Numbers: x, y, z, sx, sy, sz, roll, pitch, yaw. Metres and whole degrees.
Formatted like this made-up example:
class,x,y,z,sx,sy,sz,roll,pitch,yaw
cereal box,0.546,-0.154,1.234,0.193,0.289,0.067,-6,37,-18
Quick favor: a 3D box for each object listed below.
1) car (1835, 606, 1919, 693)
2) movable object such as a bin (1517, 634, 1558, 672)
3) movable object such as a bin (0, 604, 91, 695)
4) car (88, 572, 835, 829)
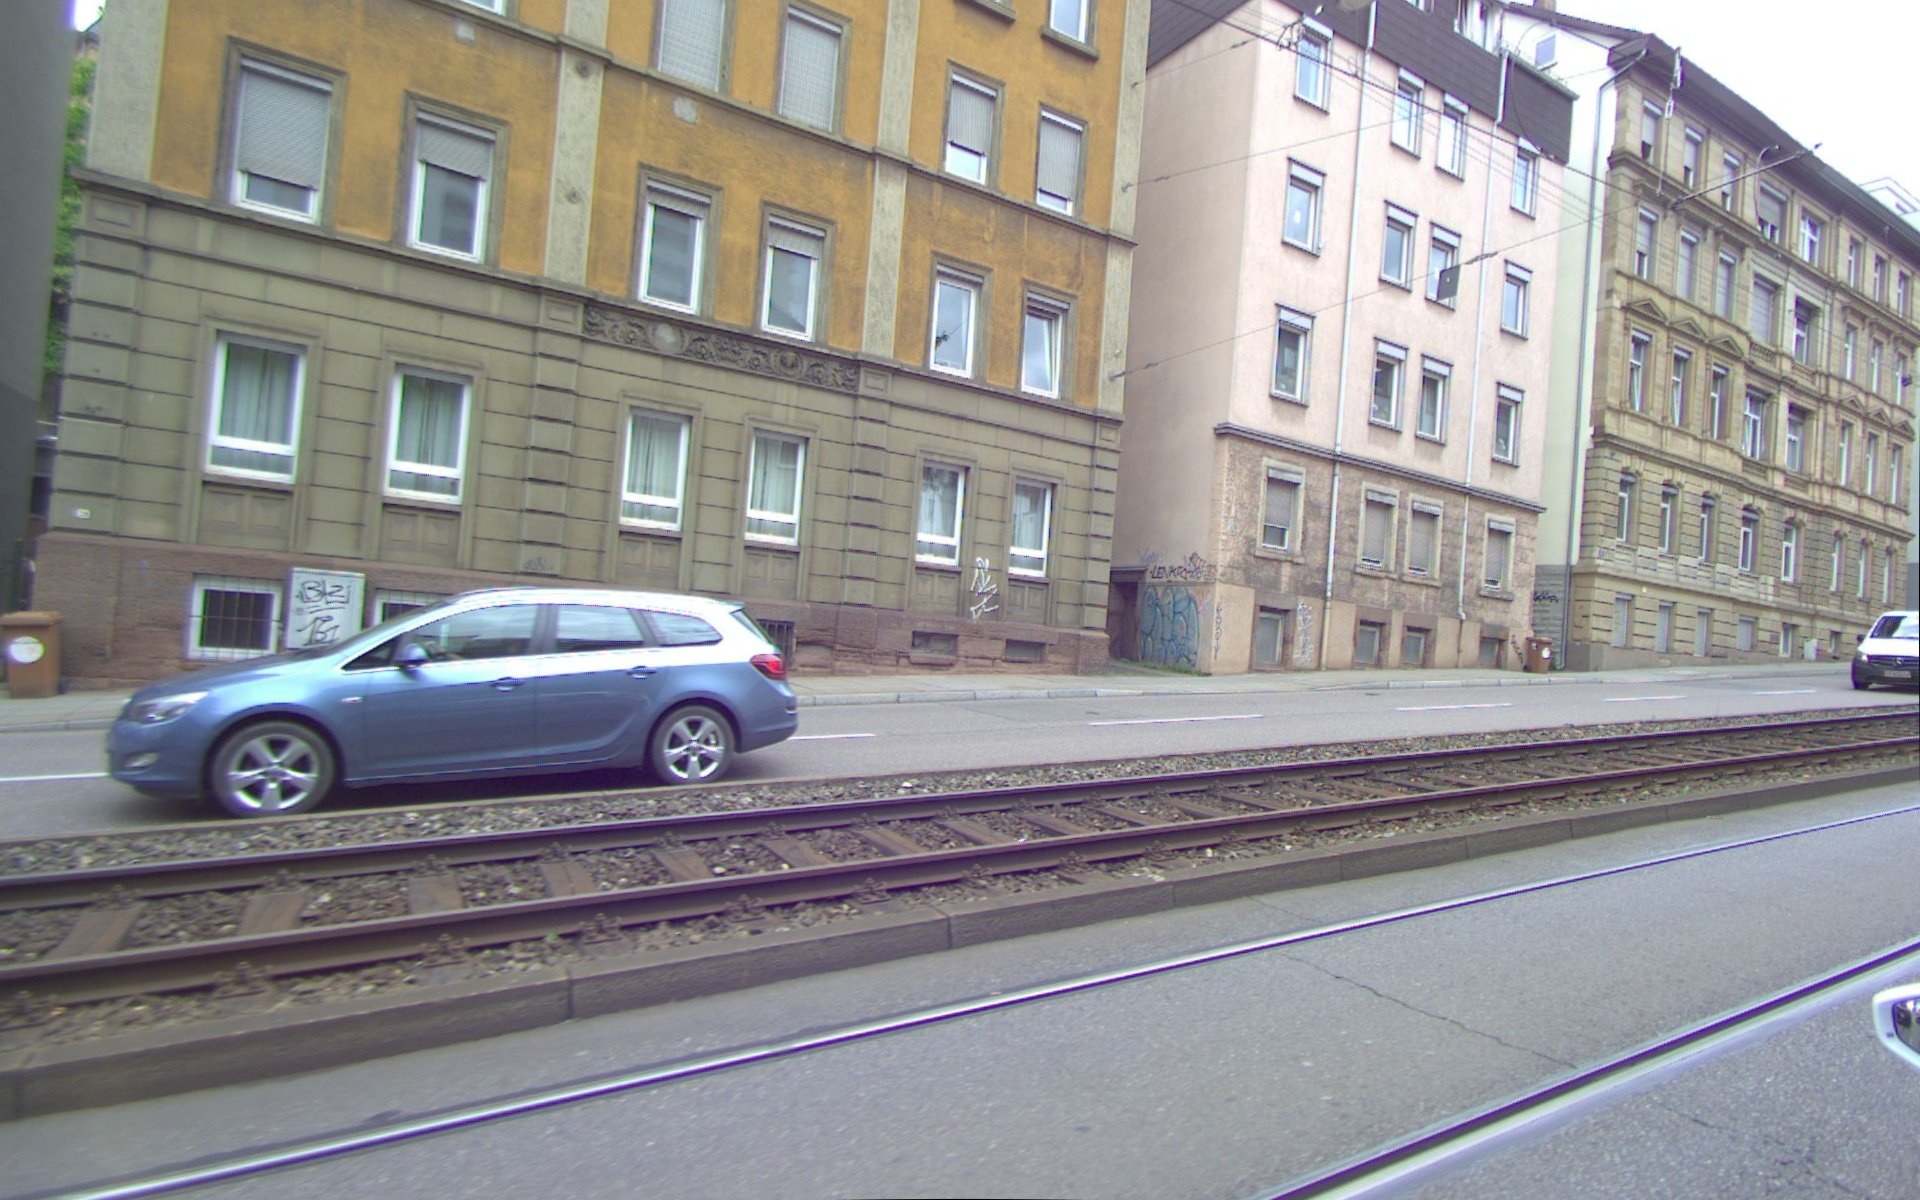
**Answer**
class,x,y,z,sx,sy,sz,roll,pitch,yaw
car,23.337,1.163,24.304,5.262,1.925,1.945,1,0,-34
movable object such as a bin,15.037,1.371,26.176,0.668,0.923,0.626,1,3,-30
movable object such as a bin,-10.221,0.538,11.198,0.645,0.960,0.775,1,0,-30
car,-3.457,0.623,7.732,4.607,1.474,1.834,2,0,-30
